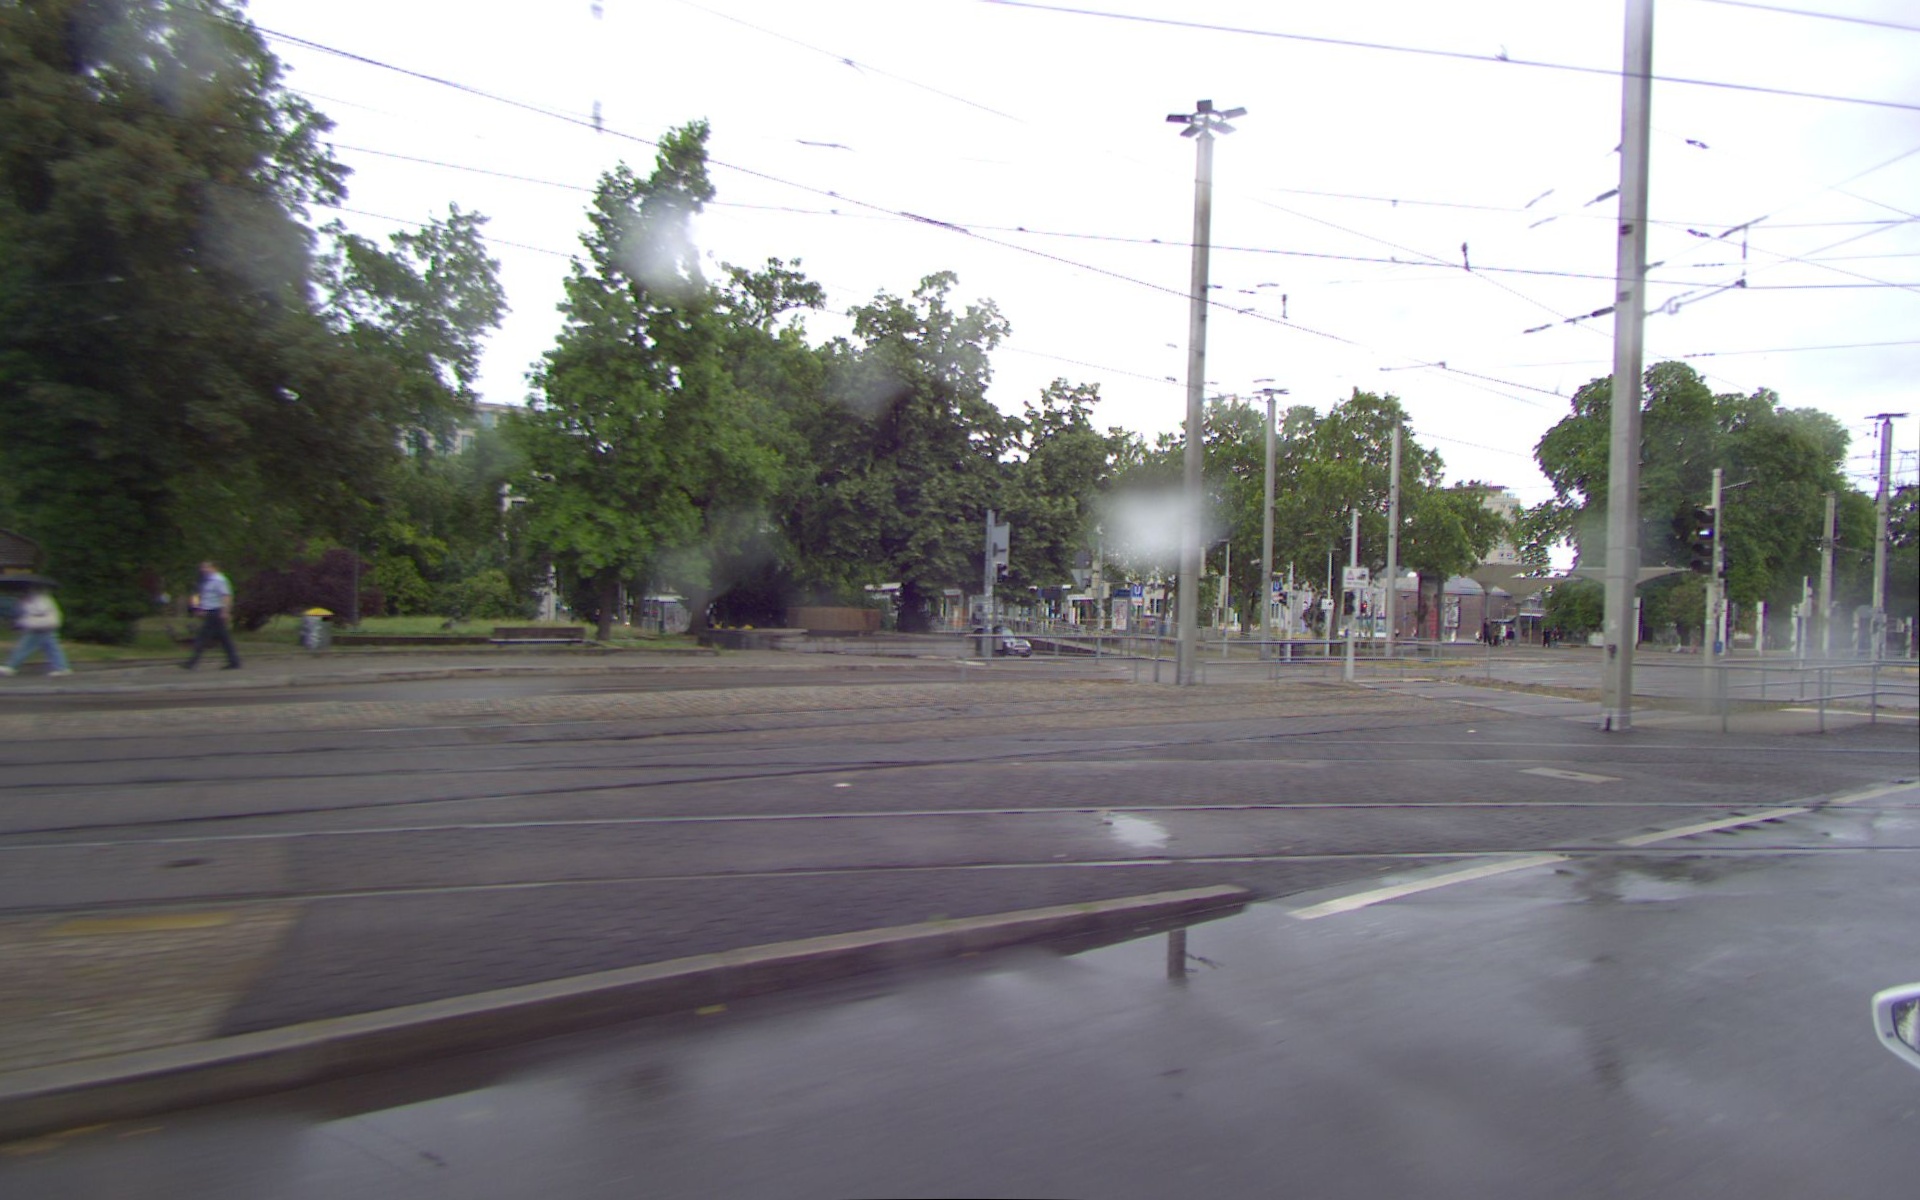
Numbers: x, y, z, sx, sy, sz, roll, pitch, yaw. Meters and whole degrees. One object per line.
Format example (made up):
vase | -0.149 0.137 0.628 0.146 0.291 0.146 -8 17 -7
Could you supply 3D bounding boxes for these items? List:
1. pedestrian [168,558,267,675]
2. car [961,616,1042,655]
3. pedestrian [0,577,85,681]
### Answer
pedestrian | -12.637 0.256 17.116 0.895 1.888 1.003 3 2 19
car | 1.916 1.650 47.729 1.978 1.728 3.965 1 -1 -32
pedestrian | -15.011 0.453 16.449 0.995 1.615 0.902 1 2 -41
